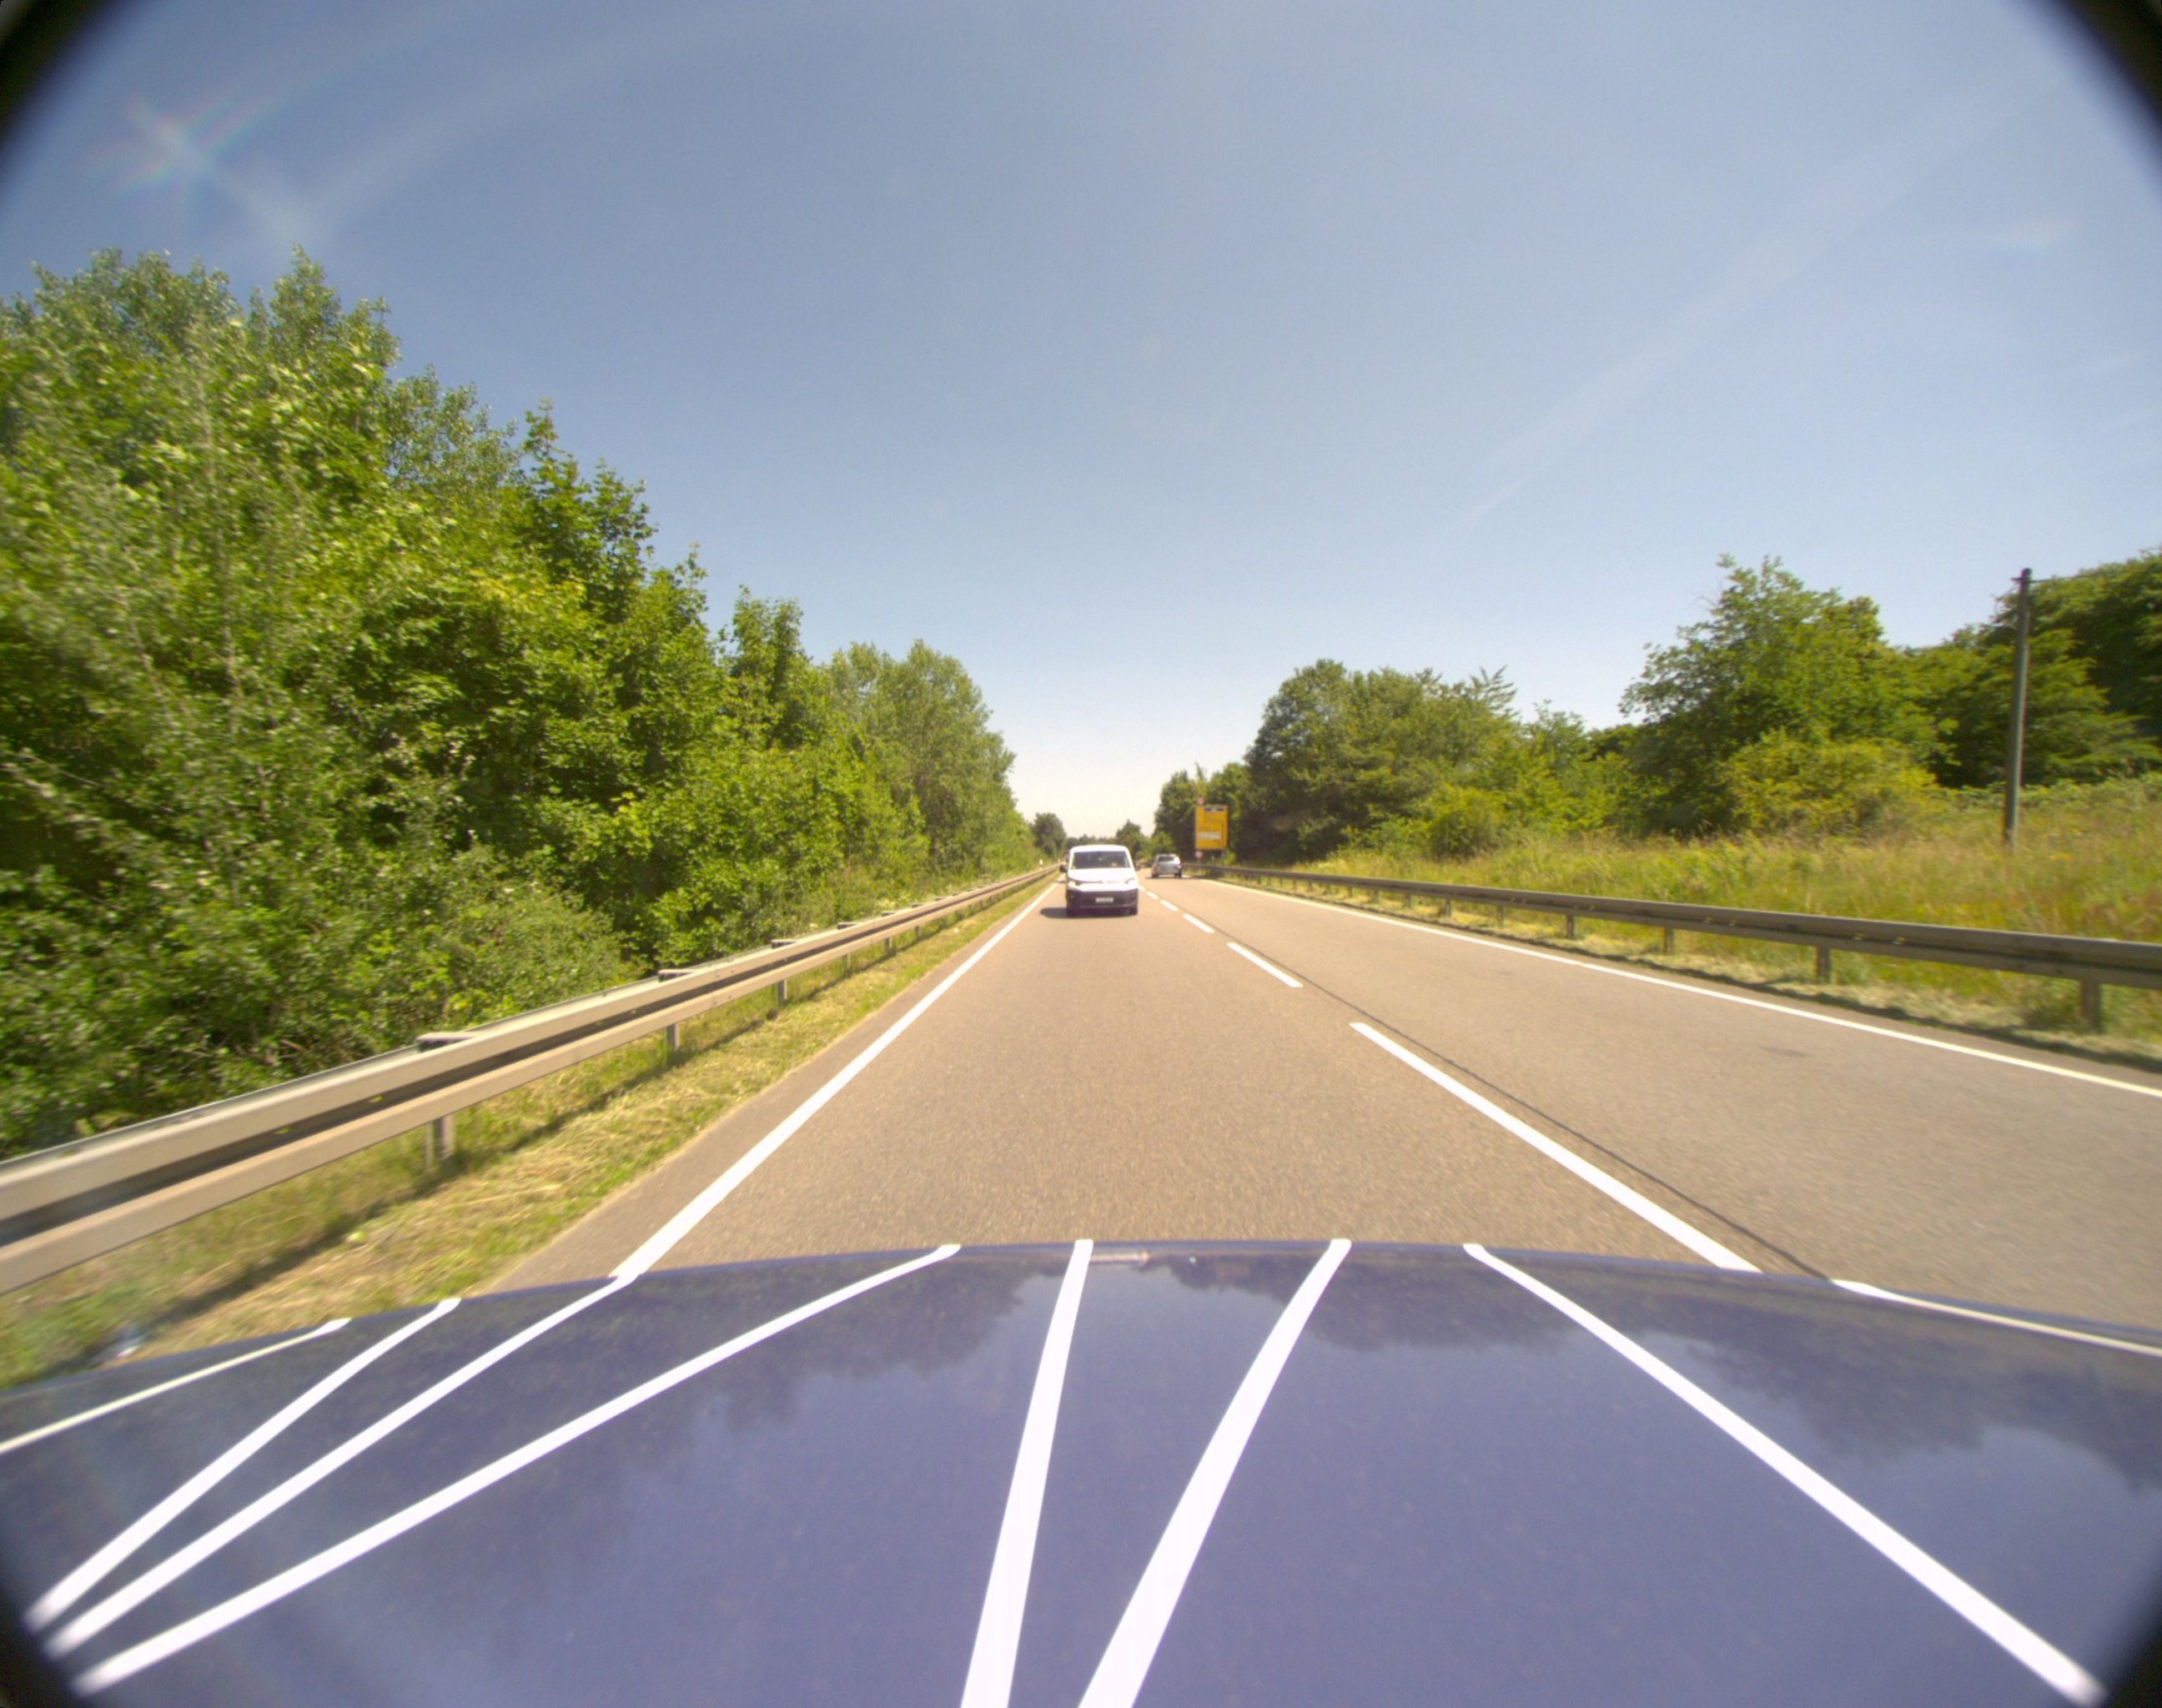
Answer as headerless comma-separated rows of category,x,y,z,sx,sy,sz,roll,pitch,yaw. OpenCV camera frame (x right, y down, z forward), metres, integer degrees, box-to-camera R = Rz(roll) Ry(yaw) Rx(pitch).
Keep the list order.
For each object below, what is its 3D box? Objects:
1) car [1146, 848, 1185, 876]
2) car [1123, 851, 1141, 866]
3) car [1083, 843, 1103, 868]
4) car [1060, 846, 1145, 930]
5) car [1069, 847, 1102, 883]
car,5.315,0.445,48.177,1.998,1.622,3.999,-2,1,1
car,6.239,0.523,93.649,1.998,1.622,3.999,-2,1,1
car,1.136,0.104,72.569,1.782,2.287,4.105,-2,1,1
car,0.521,0.706,18.690,1.782,1.743,4.512,-2,1,1
car,0.309,0.621,45.424,1.782,1.960,4.105,-2,1,1
